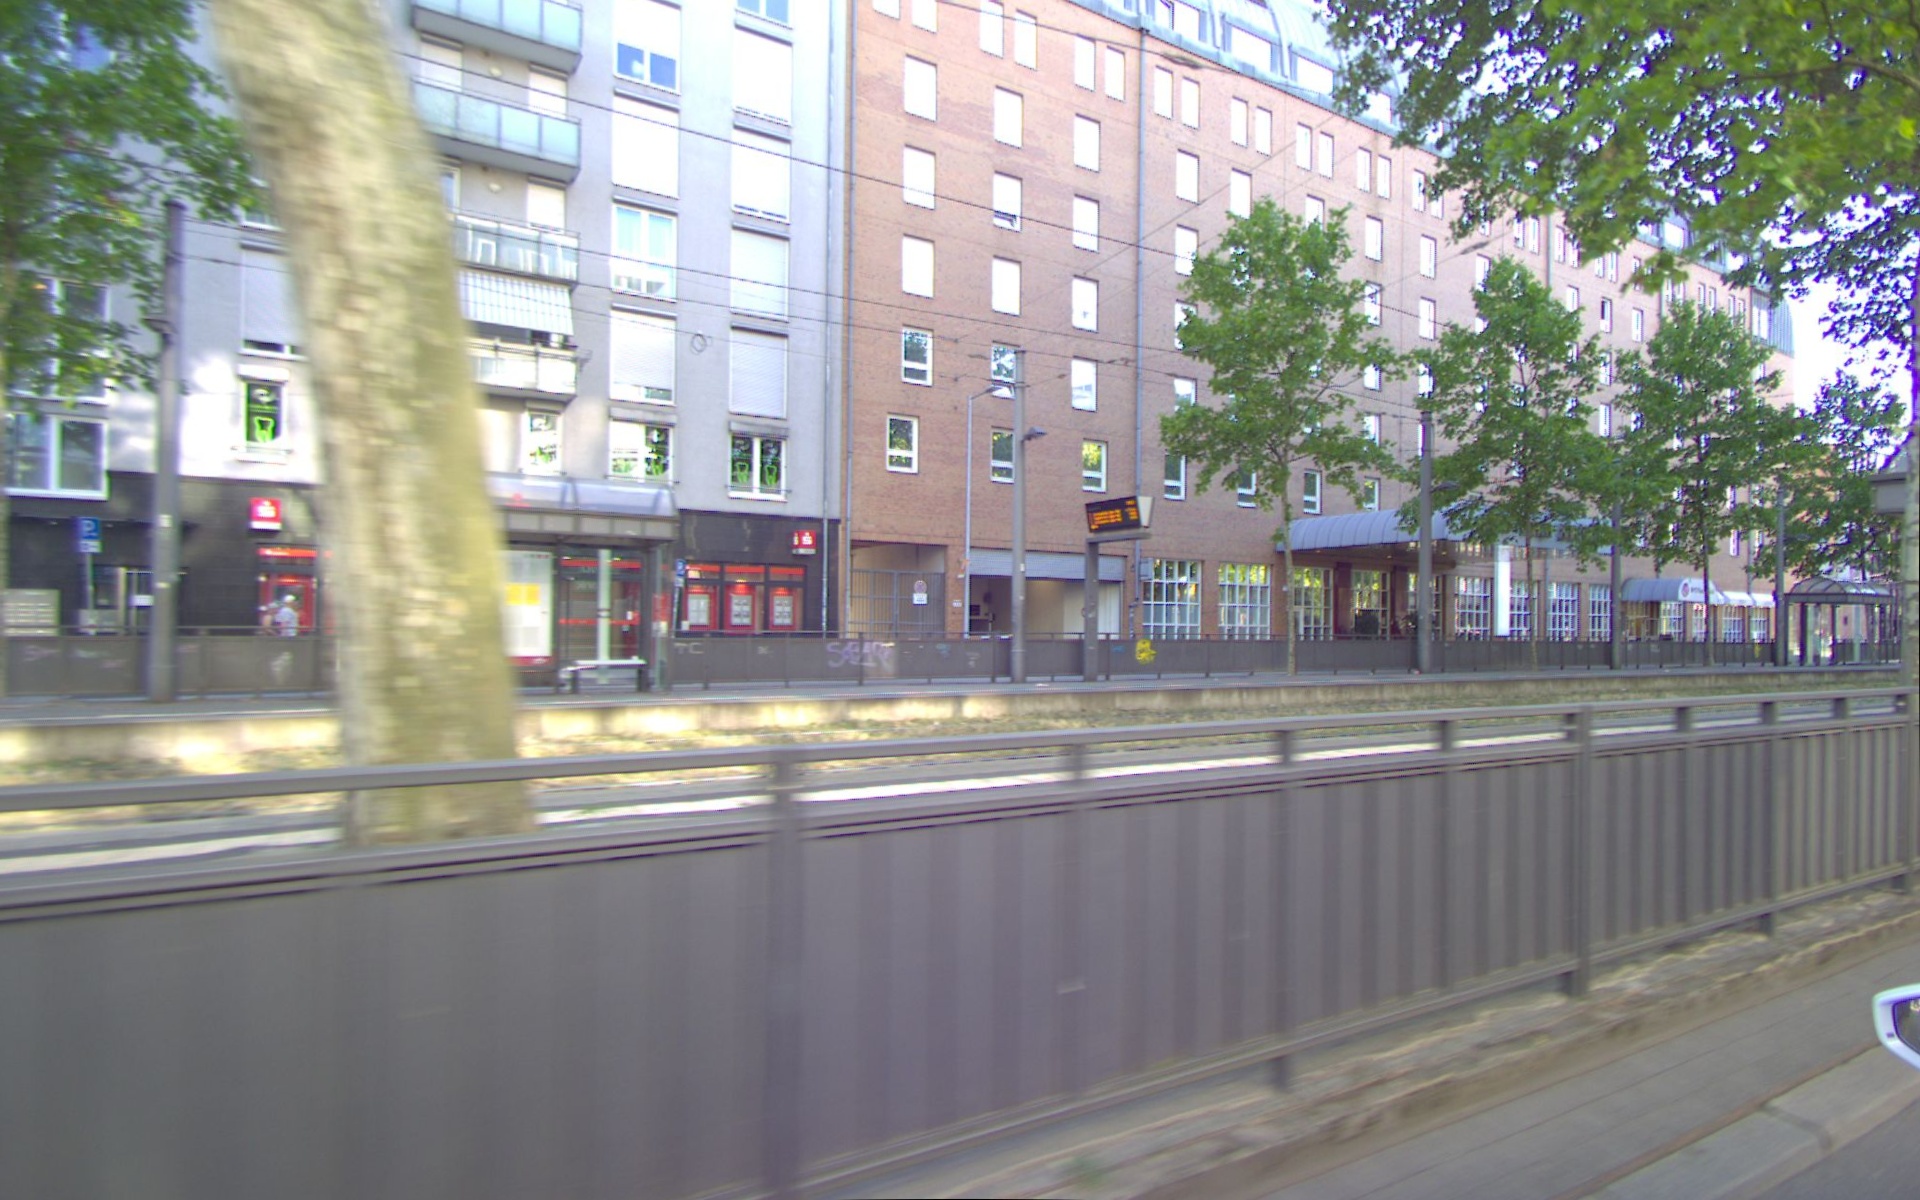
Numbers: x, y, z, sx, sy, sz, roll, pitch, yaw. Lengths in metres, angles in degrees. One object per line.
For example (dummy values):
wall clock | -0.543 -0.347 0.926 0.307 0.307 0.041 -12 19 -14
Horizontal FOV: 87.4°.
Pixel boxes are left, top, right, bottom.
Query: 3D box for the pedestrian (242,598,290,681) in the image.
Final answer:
pedestrian | -15.199 0.859 22.013 0.776 1.794 0.499 2 0 -30

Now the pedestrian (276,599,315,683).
pedestrian | -14.402 0.886 21.781 0.621 1.794 0.499 2 0 -30
